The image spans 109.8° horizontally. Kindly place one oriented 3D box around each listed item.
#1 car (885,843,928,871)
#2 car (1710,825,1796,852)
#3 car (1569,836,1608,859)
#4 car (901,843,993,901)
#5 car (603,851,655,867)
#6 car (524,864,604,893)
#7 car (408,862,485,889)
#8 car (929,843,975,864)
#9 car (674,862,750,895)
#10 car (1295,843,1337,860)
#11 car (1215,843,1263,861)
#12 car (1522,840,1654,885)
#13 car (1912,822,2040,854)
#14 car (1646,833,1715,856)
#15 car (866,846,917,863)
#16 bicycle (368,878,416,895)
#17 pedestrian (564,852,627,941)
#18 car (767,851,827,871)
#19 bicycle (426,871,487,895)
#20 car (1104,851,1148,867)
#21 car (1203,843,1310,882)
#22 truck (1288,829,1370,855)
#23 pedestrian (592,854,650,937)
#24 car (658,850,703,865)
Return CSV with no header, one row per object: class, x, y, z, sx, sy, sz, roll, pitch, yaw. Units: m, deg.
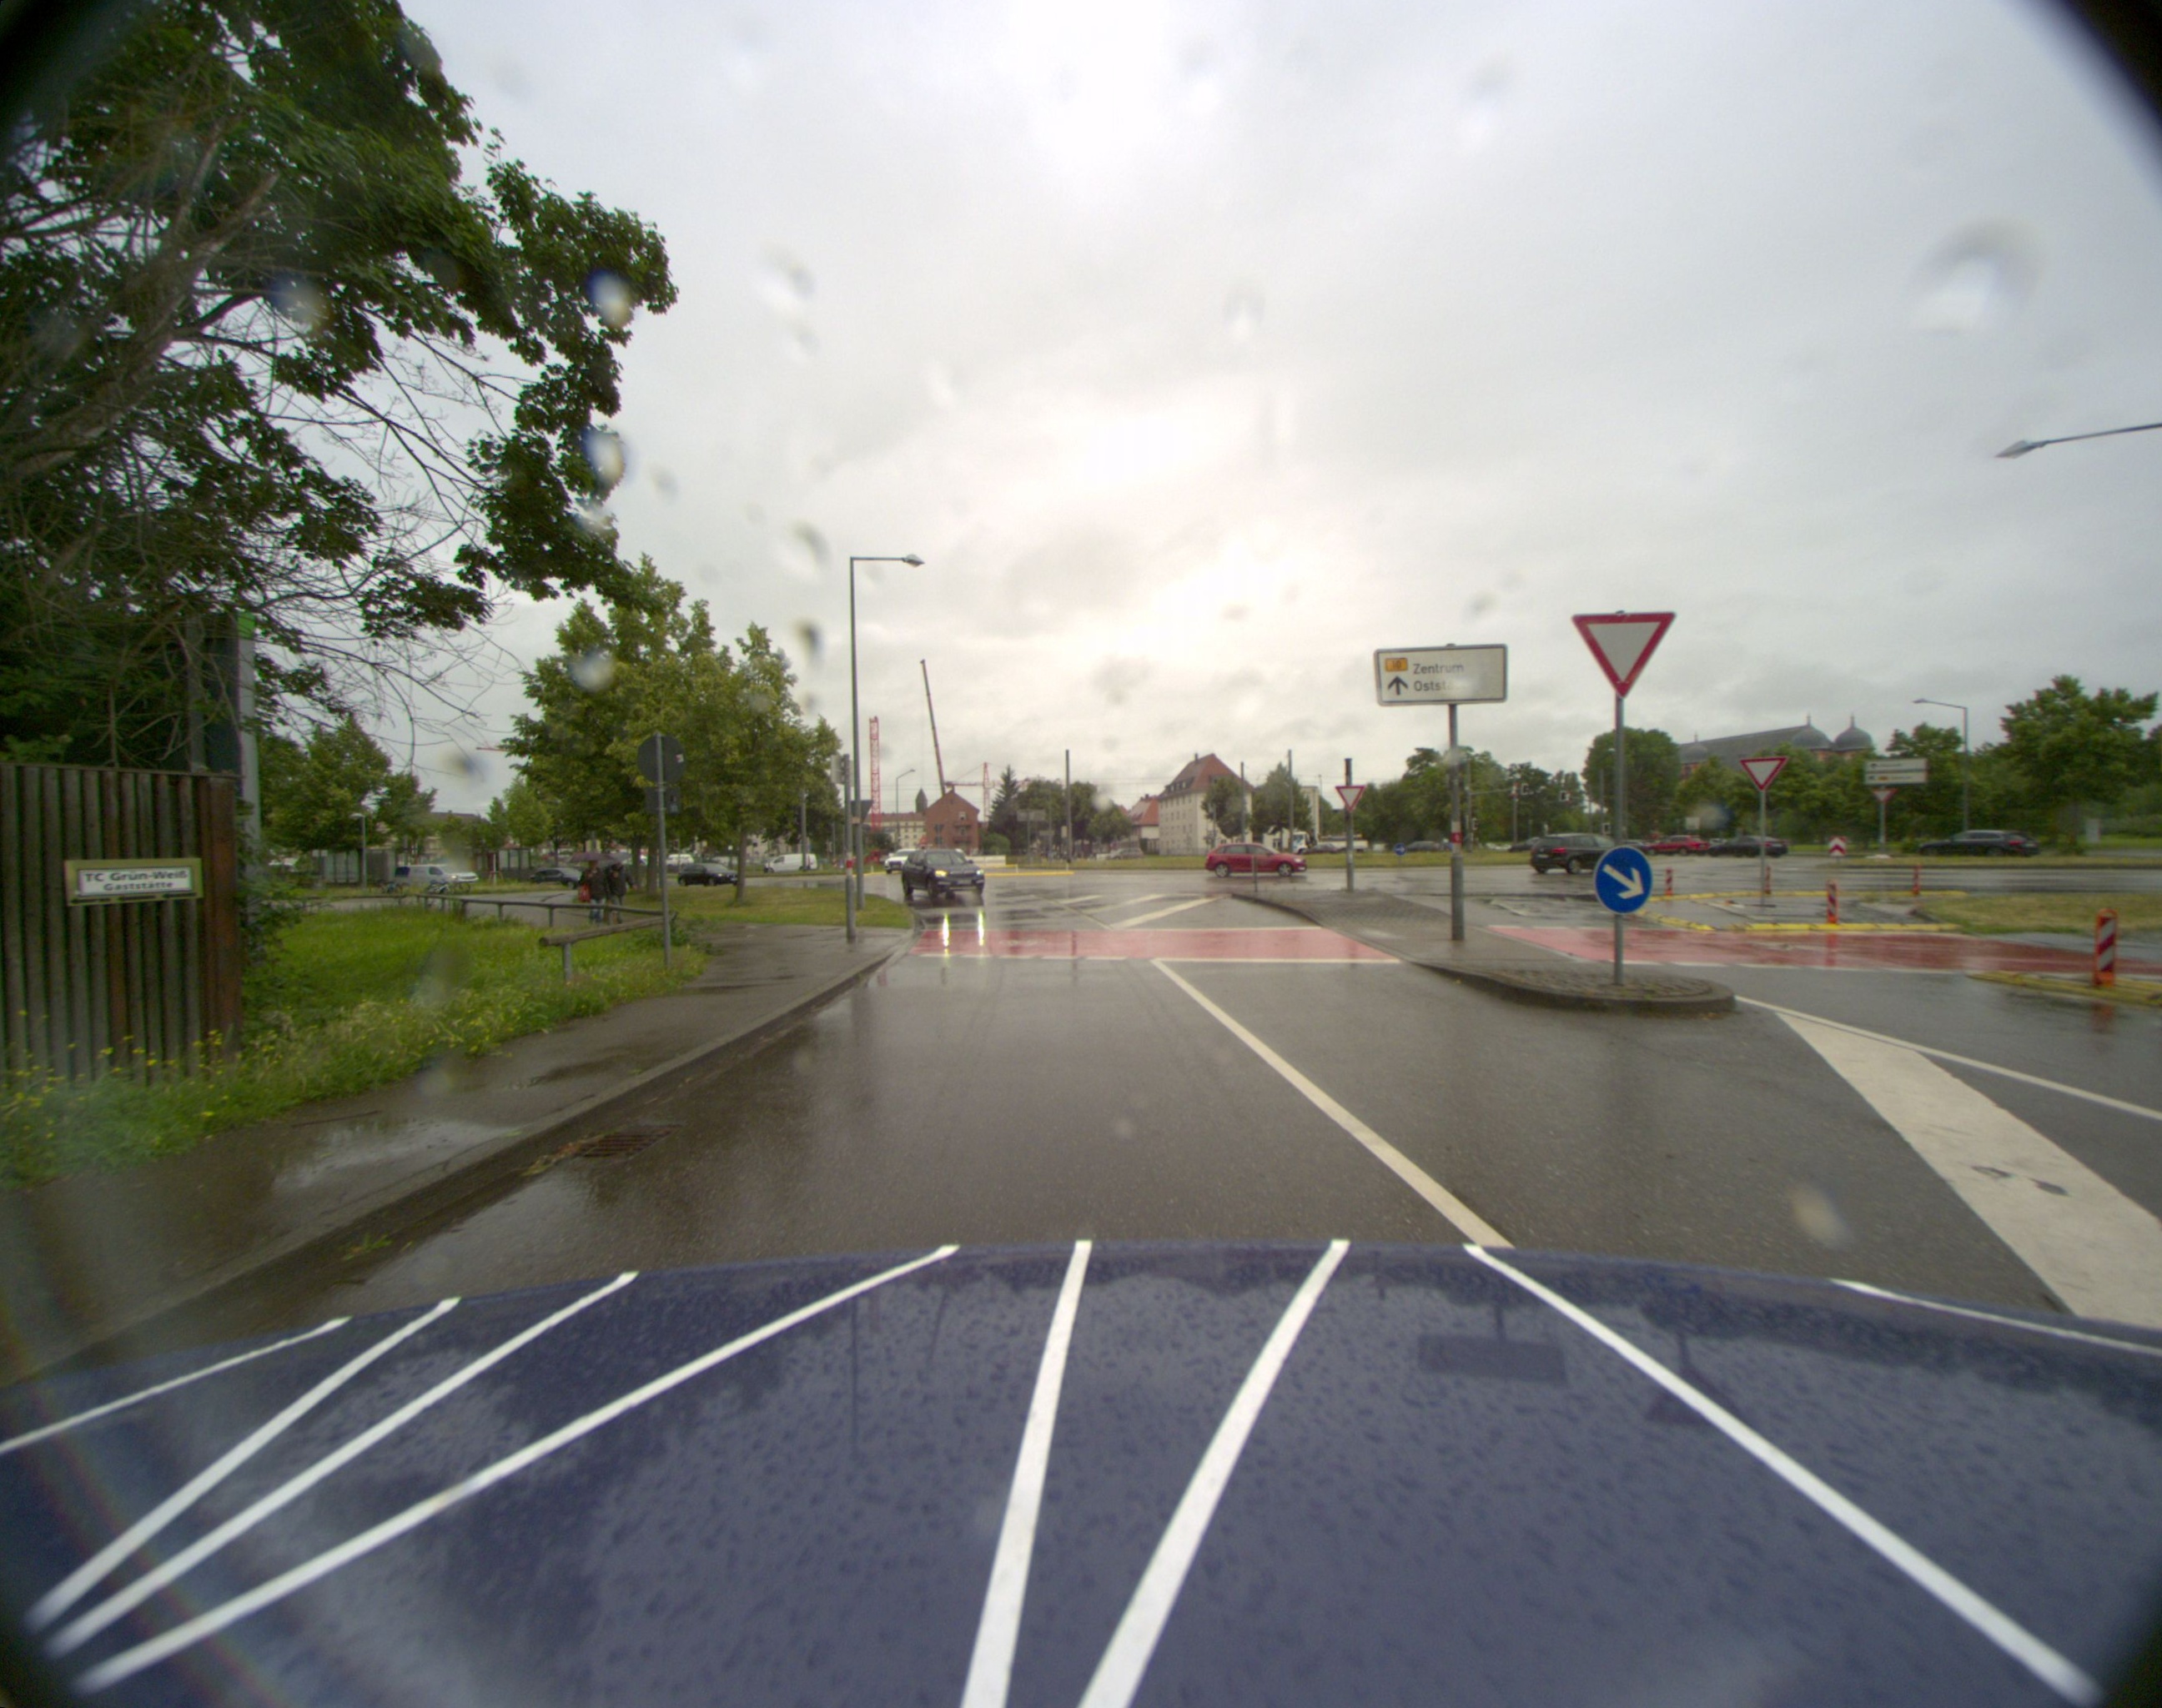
car,-12.612,0.186,55.281,1.776,1.734,4.864,-2,3,2
car,44.676,-1.049,50.650,1.788,1.639,4.391,-2,3,-1
car,41.533,-0.549,62.222,1.785,1.639,4.398,0,3,22
car,-4.877,0.556,27.141,1.920,1.737,4.372,-3,3,-28
car,-76.785,0.855,129.247,7.629,2.463,2.357,-1,3,7
car,-33.753,1.579,49.661,4.374,1.737,1.919,-1,3,18
car,-43.346,1.485,51.914,3.993,1.639,1.789,-1,3,11
car,-19.465,-0.079,114.825,6.413,2.924,2.359,-1,3,21
car,-22.120,1.439,45.492,4.371,1.737,1.920,0,4,30
car,24.793,-0.298,80.150,3.990,1.639,1.791,-1,3,22
car,16.743,-0.222,80.519,4.859,1.734,1.778,-1,3,9
car,20.002,0.306,30.056,4.333,1.509,1.787,-3,2,-11
car,50.273,-0.935,42.829,1.789,1.639,4.383,-2,3,-7
car,48.413,-0.777,61.472,1.789,1.639,4.388,-2,3,-8
car,-25.446,0.050,102.111,6.413,2.003,2.359,-1,3,21
bicycle,-37.251,1.757,41.085,2.161,0.842,0.637,-2,1,8
pedestrian,-10.367,0.876,16.249,0.925,1.775,0.806,-3,4,-24
car,-27.242,0.657,73.051,5.021,1.634,1.830,-2,3,2
bicycle,-34.342,1.584,41.859,2.529,1.182,0.552,-3,2,-38
car,4.925,0.535,83.438,4.553,1.484,1.608,-3,3,-21
car,7.579,0.368,32.756,4.306,1.451,1.791,-2,2,18
truck,28.250,-1.372,86.594,8.776,2.697,2.002,-1,3,22
pedestrian,-10.504,0.924,17.386,0.925,1.775,0.806,-3,4,-24
car,-71.103,0.608,134.967,6.827,2.463,2.501,-1,3,7
